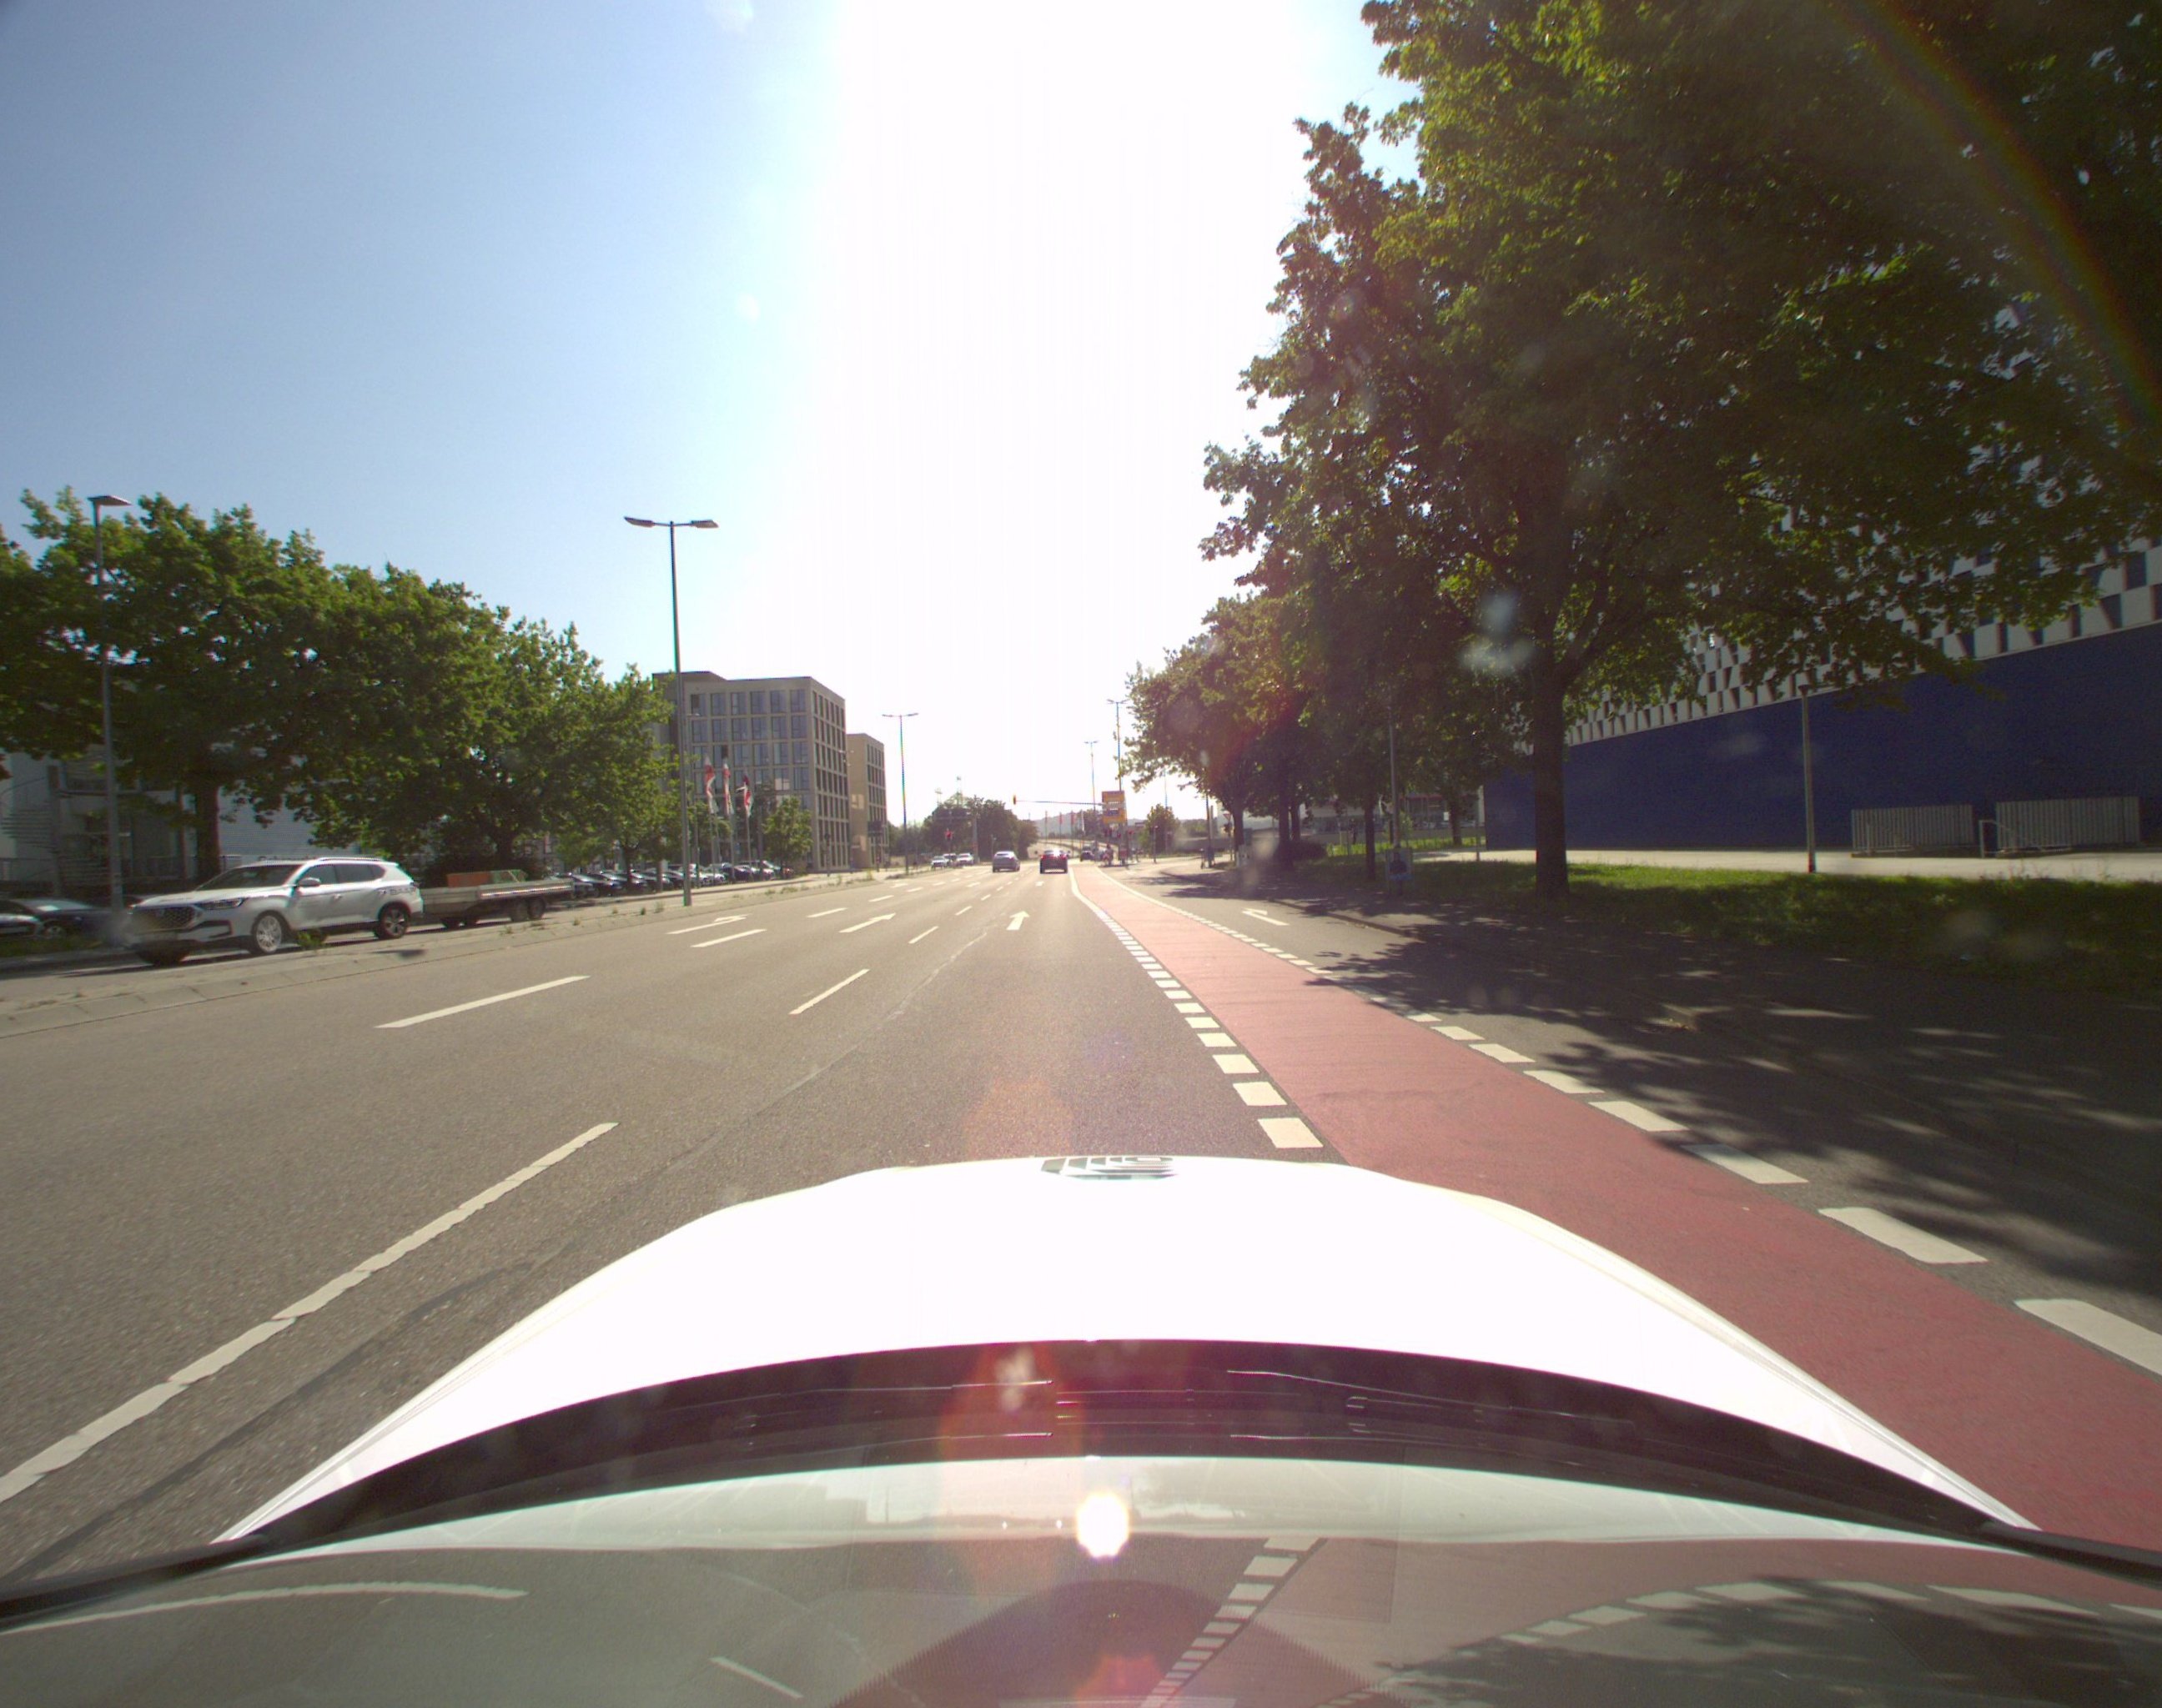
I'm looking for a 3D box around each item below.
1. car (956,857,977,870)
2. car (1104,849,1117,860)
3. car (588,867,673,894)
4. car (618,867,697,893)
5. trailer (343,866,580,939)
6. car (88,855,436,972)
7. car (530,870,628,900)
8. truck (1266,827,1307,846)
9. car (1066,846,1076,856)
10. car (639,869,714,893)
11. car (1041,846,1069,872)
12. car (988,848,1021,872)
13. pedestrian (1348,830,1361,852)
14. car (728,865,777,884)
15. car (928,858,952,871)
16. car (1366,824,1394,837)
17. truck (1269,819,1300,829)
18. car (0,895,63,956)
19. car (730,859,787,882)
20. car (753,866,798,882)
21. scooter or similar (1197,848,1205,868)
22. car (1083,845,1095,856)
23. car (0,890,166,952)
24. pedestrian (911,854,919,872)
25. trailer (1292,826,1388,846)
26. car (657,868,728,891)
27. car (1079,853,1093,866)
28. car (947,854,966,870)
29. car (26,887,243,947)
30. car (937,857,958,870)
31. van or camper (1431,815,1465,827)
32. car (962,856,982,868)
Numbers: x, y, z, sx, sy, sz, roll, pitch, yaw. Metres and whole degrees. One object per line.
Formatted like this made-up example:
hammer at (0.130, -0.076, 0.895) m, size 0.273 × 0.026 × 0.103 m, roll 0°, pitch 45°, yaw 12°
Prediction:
car at (-14.440, 1.216, 102.963) m, size 1.808 × 1.464 × 4.004 m, roll -3°, pitch 0°, yaw 4°
car at (4.002, 0.077, 109.643) m, size 1.683 × 1.359 × 4.002 m, roll 0°, pitch 1°, yaw 1°
car at (-27.357, 1.612, 49.599) m, size 3.978 × 1.343 × 1.998 m, roll -3°, pitch 0°, yaw -3°
car at (-27.281, 1.659, 52.544) m, size 3.976 × 1.343 × 1.999 m, roll -3°, pitch 0°, yaw -2°
trailer at (-15.995, 1.152, 21.593) m, size 1.989 × 1.453 × 5.766 m, roll -3°, pitch 0°, yaw -3°
car at (-15.774, 1.004, 16.227) m, size 1.989 × 1.832 × 4.932 m, roll -3°, pitch 0°, yaw -3°
car at (-27.233, 1.666, 44.306) m, size 3.976 × 1.343 × 1.999 m, roll -3°, pitch 0°, yaw -2°
truck at (26.771, -2.263, 106.154) m, size 4.859 × 2.423 × 2.002 m, roll 0°, pitch 1°, yaw 3°
car at (-2.139, -0.737, 171.095) m, size 1.987 × 2.013 × 3.981 m, roll -1°, pitch 1°, yaw 0°
car at (-27.326, 1.812, 55.063) m, size 3.976 × 1.343 × 1.999 m, roll -3°, pitch 0°, yaw -2°
car at (-1.790, 0.339, 55.988) m, size 1.803 × 1.640 × 4.455 m, roll -3°, pitch 0°, yaw -2°
car at (-5.753, 0.420, 61.386) m, size 1.987 × 1.684 × 4.000 m, roll -3°, pitch 0°, yaw 0°
pedestrian at (22.608, -1.074, 67.221) m, size 0.627 × 1.770 × 0.802 m, roll -3°, pitch 0°, yaw -11°
car at (-27.540, 1.698, 68.296) m, size 3.399 × 1.343 × 1.646 m, roll -3°, pitch 0°, yaw 1°
car at (-17.595, 1.281, 101.719) m, size 1.883 × 1.464 × 4.004 m, roll -3°, pitch 0°, yaw 4°
car at (50.520, -3.981, 137.624) m, size 3.977 × 2.013 × 1.999 m, roll -1°, pitch 1°, yaw -3°
truck at (41.926, -6.126, 167.670) m, size 5.888 × 2.013 × 2.001 m, roll 0°, pitch 1°, yaw 1°
car at (-27.424, 1.817, 19.317) m, size 3.975 × 1.376 × 1.924 m, roll -3°, pitch 0°, yaw -1°
car at (-33.006, 1.700, 83.441) m, size 4.898 × 2.050 × 2.000 m, roll -3°, pitch 0°, yaw 0°
car at (-32.532, 2.084, 86.785) m, size 3.973 × 1.464 × 2.000 m, roll -3°, pitch 0°, yaw 0°
scooter or similar at (7.586, 0.240, 51.559) m, size 0.349 × 1.233 × 1.316 m, roll -3°, pitch 0°, yaw 13°
car at (1.585, -0.652, 159.308) m, size 1.984 × 2.013 × 4.005 m, roll 0°, pitch 1°, yaw 4°
car at (-27.543, 1.797, 21.713) m, size 3.975 × 1.376 × 1.924 m, roll -3°, pitch 0°, yaw -1°
pedestrian at (-19.317, 1.002, 94.678) m, size 0.760 × 2.013 × 0.926 m, roll -1°, pitch 1°, yaw -26°
trailer at (33.554, -2.321, 105.784) m, size 11.818 × 2.469 × 2.002 m, roll 0°, pitch 1°, yaw 4°
car at (-27.388, 1.773, 57.451) m, size 3.976 × 1.343 × 1.999 m, roll -3°, pitch 0°, yaw -2°
car at (0.704, 0.733, 116.913) m, size 1.754 × 1.758 × 3.599 m, roll -1°, pitch 1°, yaw -3°
car at (-11.011, 0.689, 71.958) m, size 1.211 × 1.331 × 2.800 m, roll 0°, pitch 1°, yaw 1°
car at (-27.666, 1.811, 23.913) m, size 3.975 × 1.376 × 1.924 m, roll -3°, pitch 0°, yaw -1°
car at (-17.880, 1.263, 109.079) m, size 1.808 × 1.464 × 4.004 m, roll -3°, pitch 0°, yaw 4°
van or camper at (61.843, -5.555, 137.293) m, size 4.970 × 2.013 × 1.999 m, roll -1°, pitch 1°, yaw -2°
car at (-14.677, 1.060, 109.931) m, size 1.808 × 1.464 × 4.004 m, roll -3°, pitch 0°, yaw 4°
